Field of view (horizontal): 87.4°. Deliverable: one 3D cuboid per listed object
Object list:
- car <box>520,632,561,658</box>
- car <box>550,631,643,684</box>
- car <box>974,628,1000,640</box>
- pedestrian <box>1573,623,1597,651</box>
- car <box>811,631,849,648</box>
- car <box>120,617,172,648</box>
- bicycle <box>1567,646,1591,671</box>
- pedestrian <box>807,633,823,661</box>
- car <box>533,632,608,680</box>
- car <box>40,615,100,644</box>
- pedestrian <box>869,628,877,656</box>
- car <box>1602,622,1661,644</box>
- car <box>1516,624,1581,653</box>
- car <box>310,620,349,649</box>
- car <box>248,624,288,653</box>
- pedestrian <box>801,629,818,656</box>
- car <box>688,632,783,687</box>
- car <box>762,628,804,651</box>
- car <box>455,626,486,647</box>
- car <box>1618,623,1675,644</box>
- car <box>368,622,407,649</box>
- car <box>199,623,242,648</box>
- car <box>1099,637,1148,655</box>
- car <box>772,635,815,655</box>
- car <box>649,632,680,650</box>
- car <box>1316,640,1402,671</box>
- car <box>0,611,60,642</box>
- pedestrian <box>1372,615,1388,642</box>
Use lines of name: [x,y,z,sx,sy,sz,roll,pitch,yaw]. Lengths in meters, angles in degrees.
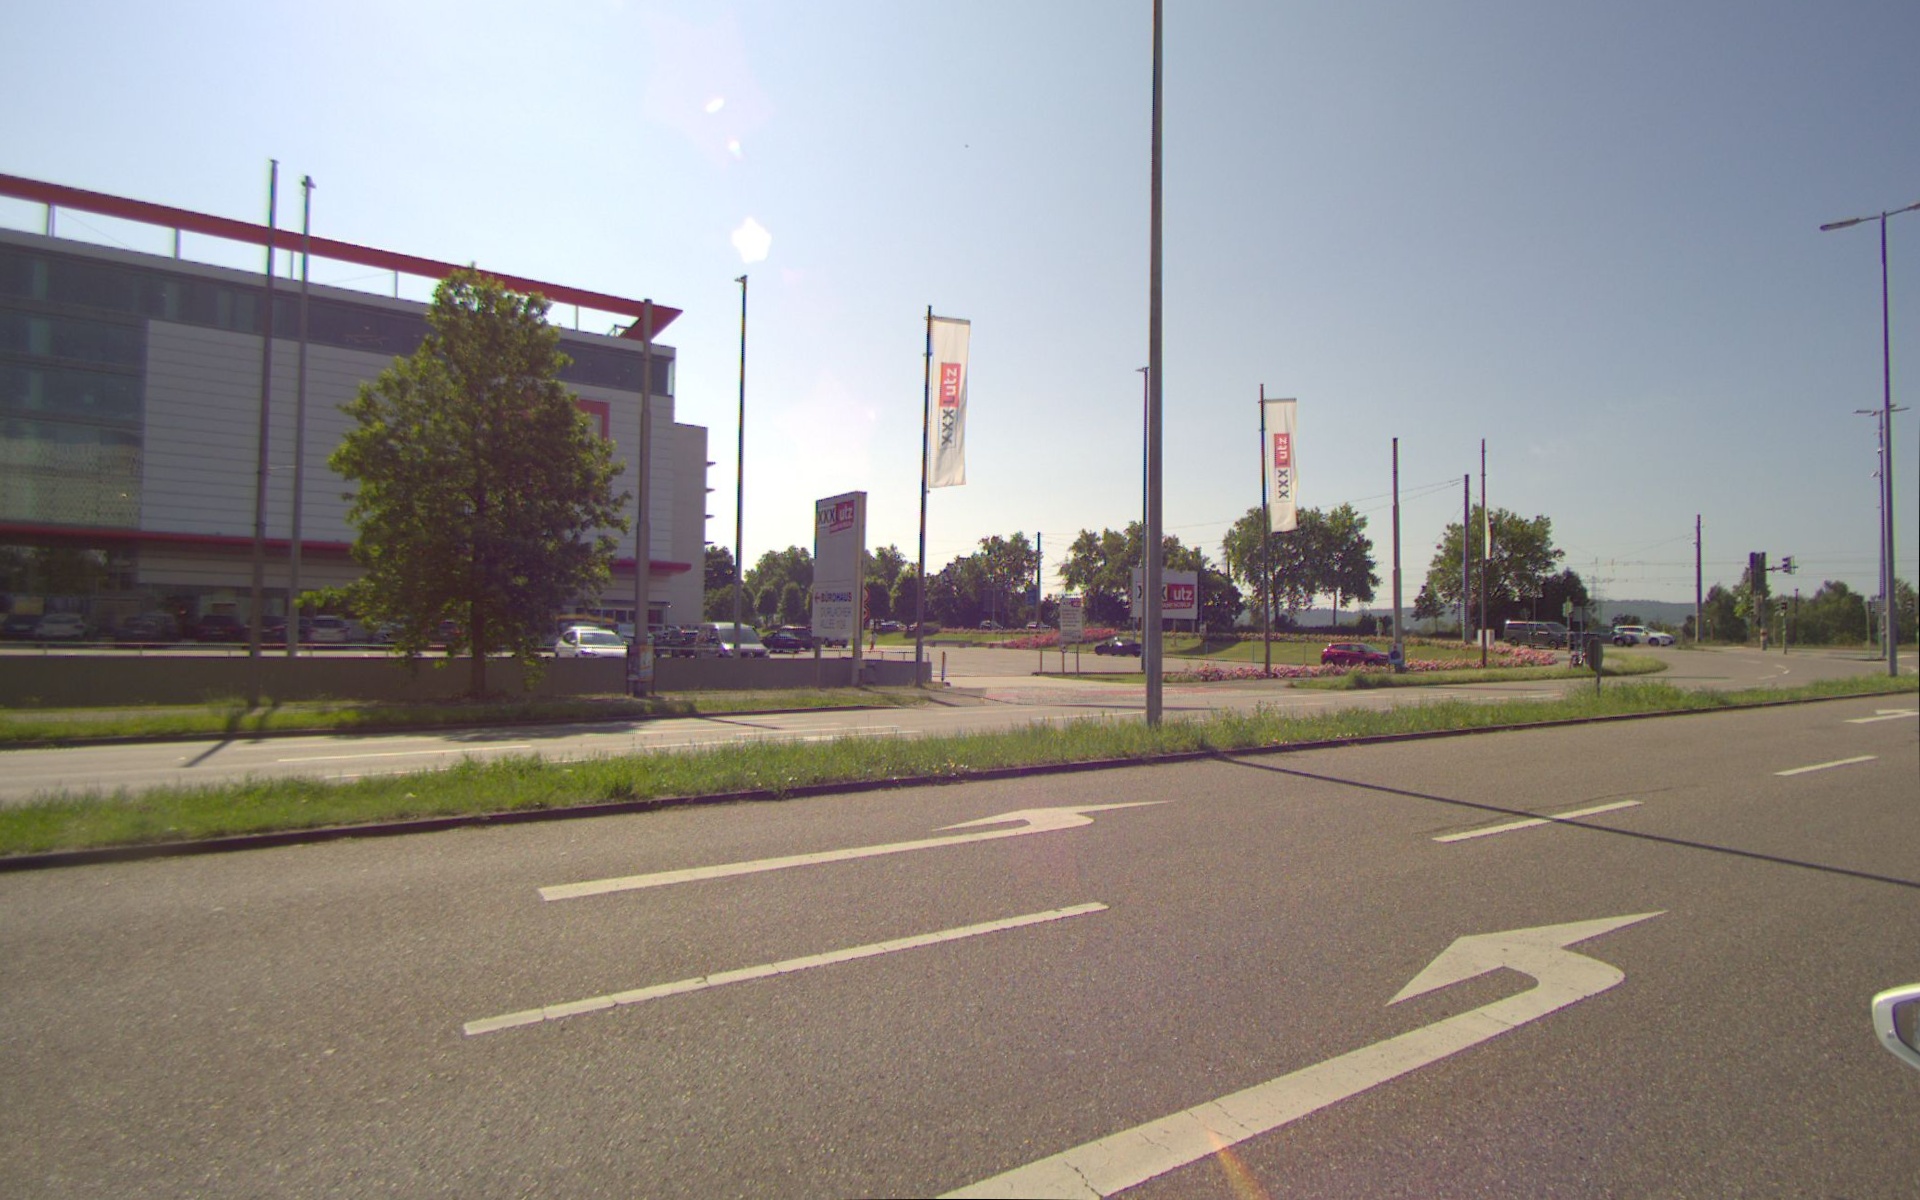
car: [-23.468,2.496,56.129,1.500,1.347,3.069,3,-3,-34]
car: [-12.258,1.893,33.743,1.853,1.648,4.384,3,-3,-35]
car: [3.750,4.807,141.726,1.744,1.540,3.963,1,-2,-34]
pedestrian: [38.136,2.261,61.321,0.892,1.729,0.839,0,-2,-21]
car: [-10.805,3.304,83.403,1.734,1.347,3.640,3,-3,-34]
car: [-37.498,1.502,46.311,1.500,1.347,3.069,3,-3,-34]
bicycle: [27.228,2.581,44.171,1.629,1.036,0.328,4,-5,-37]
pedestrian: [-10.905,3.545,75.533,0.965,2.040,0.941,1,-3,-32]
car: [-17.363,2.461,44.637,2.010,2.040,4.638,1,-3,-36]
car: [-39.871,1.323,45.067,1.465,1.214,3.478,3,-3,-34]
pedestrian: [-5.998,2.903,69.191,0.489,1.920,0.783,0,-2,-3]
car: [49.207,2.394,73.638,1.396,1.519,3.364,3,-3,-35]
car: [41.518,2.674,70.939,1.784,1.951,3.992,0,0,-11]
car: [-31.804,1.731,50.643,1.500,1.347,3.069,3,-3,-34]
car: [-33.613,1.864,48.835,1.500,1.310,3.069,3,-3,-33]
pedestrian: [-11.498,3.279,76.829,0.965,2.040,0.941,1,-3,-32]
car: [-8.196,2.124,36.400,1.925,1.866,4.387,2,-3,-33]
car: [-11.296,2.508,64.087,1.500,1.347,3.069,3,-3,-34]
car: [-33.223,2.467,68.162,1.500,1.347,3.069,3,-3,-34]
car: [51.709,2.531,75.673,1.397,1.519,3.319,3,-3,-37]
car: [-29.592,1.831,51.888,1.500,1.347,3.069,3,-3,-34]
car: [-38.384,1.832,52.202,1.590,1.244,3.069,3,-3,-34]
car: [13.043,3.691,80.369,1.711,1.347,3.824,3,-3,-34]
car: [-11.468,3.087,69.033,1.761,1.347,3.069,3,-3,-34]
car: [-22.089,3.065,74.934,1.352,1.283,3.069,3,-3,-34]
car: [22.420,3.108,56.545,1.810,1.626,4.152,3,-3,-37]
car: [-44.382,1.269,47.920,1.613,1.347,3.643,3,-3,-34]
pedestrian: [31.994,2.195,76.590,0.907,1.997,0.713,3,-2,-29]
